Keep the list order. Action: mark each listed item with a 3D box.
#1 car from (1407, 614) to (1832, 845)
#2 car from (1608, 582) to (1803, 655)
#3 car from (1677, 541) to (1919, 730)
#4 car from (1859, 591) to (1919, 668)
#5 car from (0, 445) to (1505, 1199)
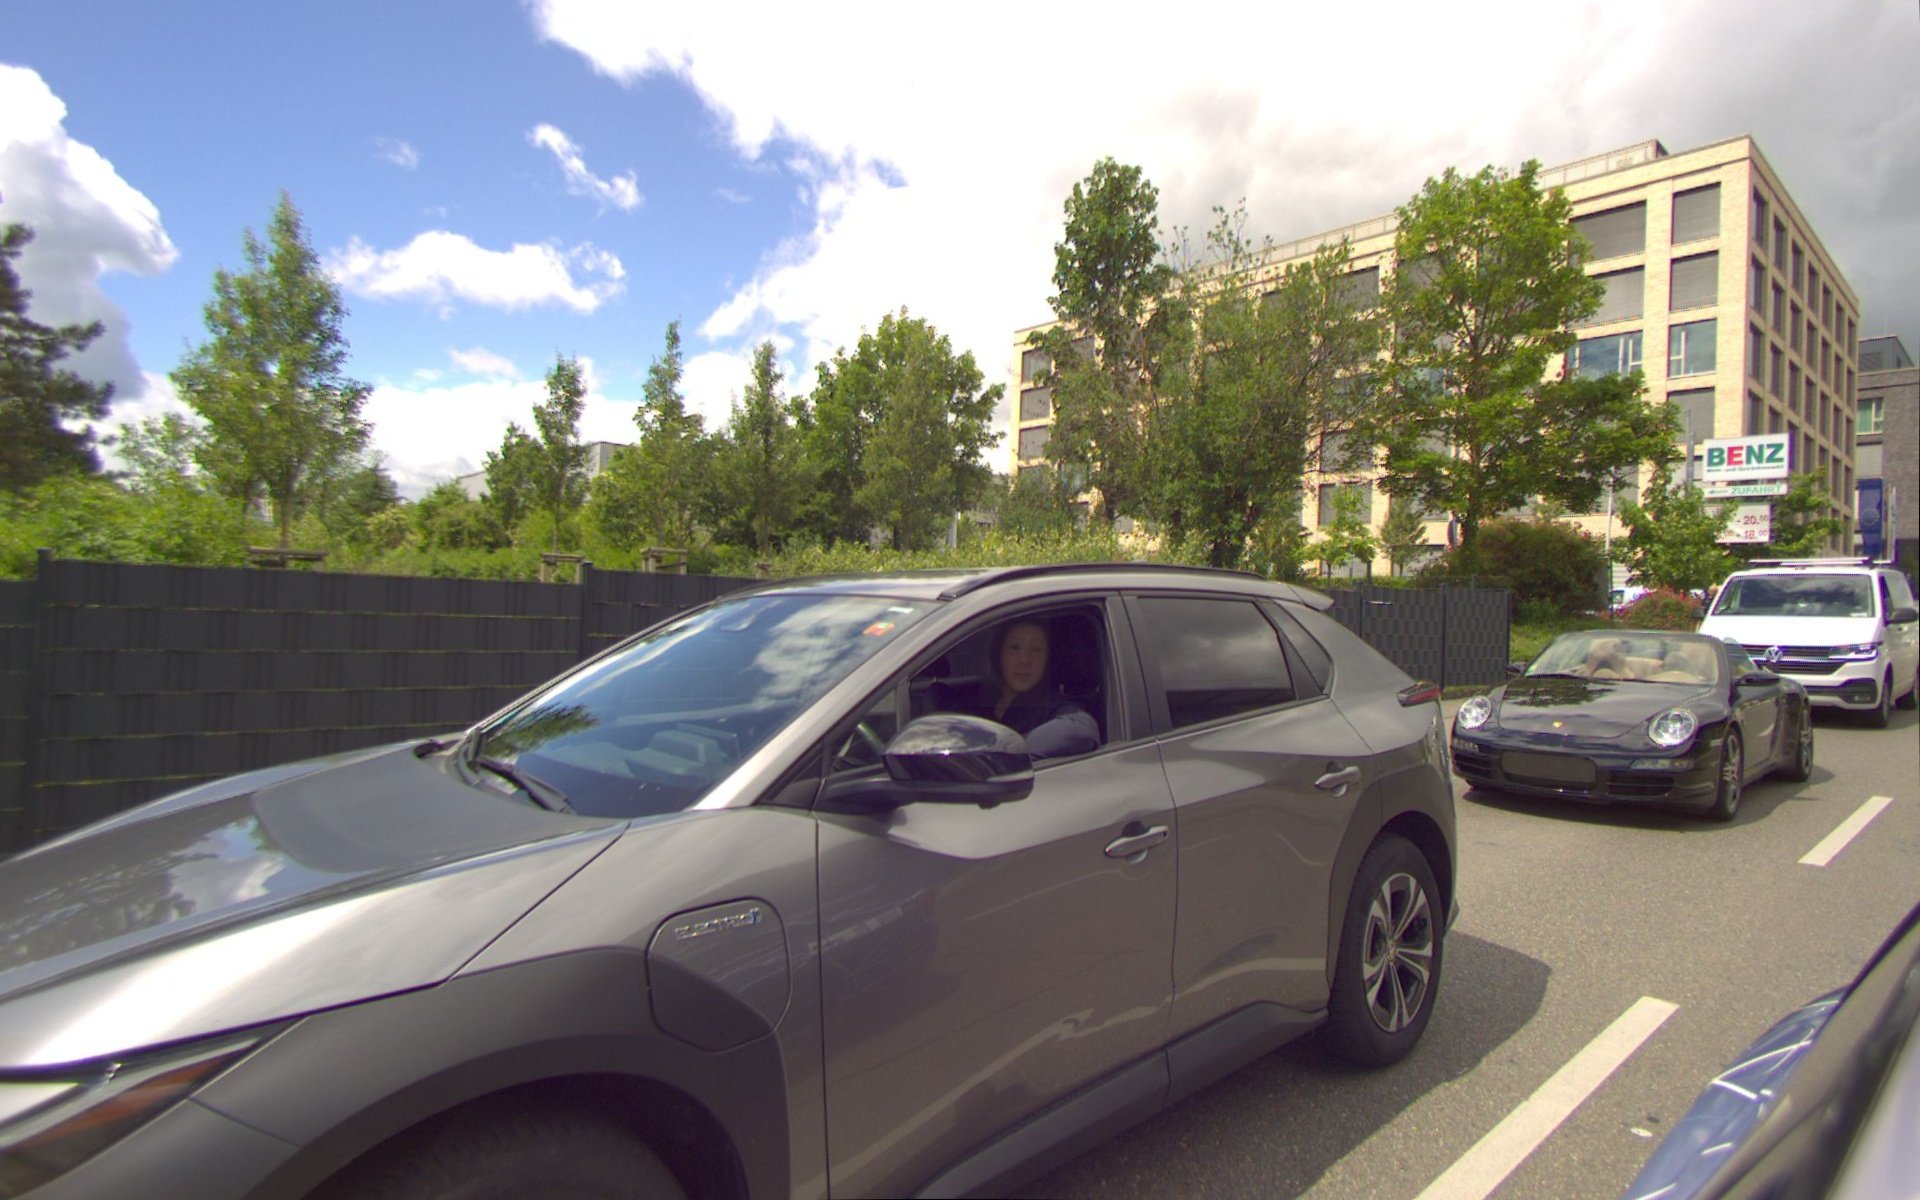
[{"bbox_3d":[5.381,0.803,8.064,3.967,1.310,1.823,0,0,-41],"label":"car"},{"bbox_3d":[20.023,0.420,27.290,1.793,1.754,3.991,0,2,-44],"label":"car"},{"bbox_3d":[11.431,0.381,13.424,4.677,2.075,2.087,0,0,-41],"label":"car"},{"bbox_3d":[20.337,0.579,21.142,3.930,1.481,1.817,0,2,-41],"label":"car"},{"bbox_3d":[-0.343,0.640,2.971,4.501,1.649,1.997,0,1,-42],"label":"car"}]
